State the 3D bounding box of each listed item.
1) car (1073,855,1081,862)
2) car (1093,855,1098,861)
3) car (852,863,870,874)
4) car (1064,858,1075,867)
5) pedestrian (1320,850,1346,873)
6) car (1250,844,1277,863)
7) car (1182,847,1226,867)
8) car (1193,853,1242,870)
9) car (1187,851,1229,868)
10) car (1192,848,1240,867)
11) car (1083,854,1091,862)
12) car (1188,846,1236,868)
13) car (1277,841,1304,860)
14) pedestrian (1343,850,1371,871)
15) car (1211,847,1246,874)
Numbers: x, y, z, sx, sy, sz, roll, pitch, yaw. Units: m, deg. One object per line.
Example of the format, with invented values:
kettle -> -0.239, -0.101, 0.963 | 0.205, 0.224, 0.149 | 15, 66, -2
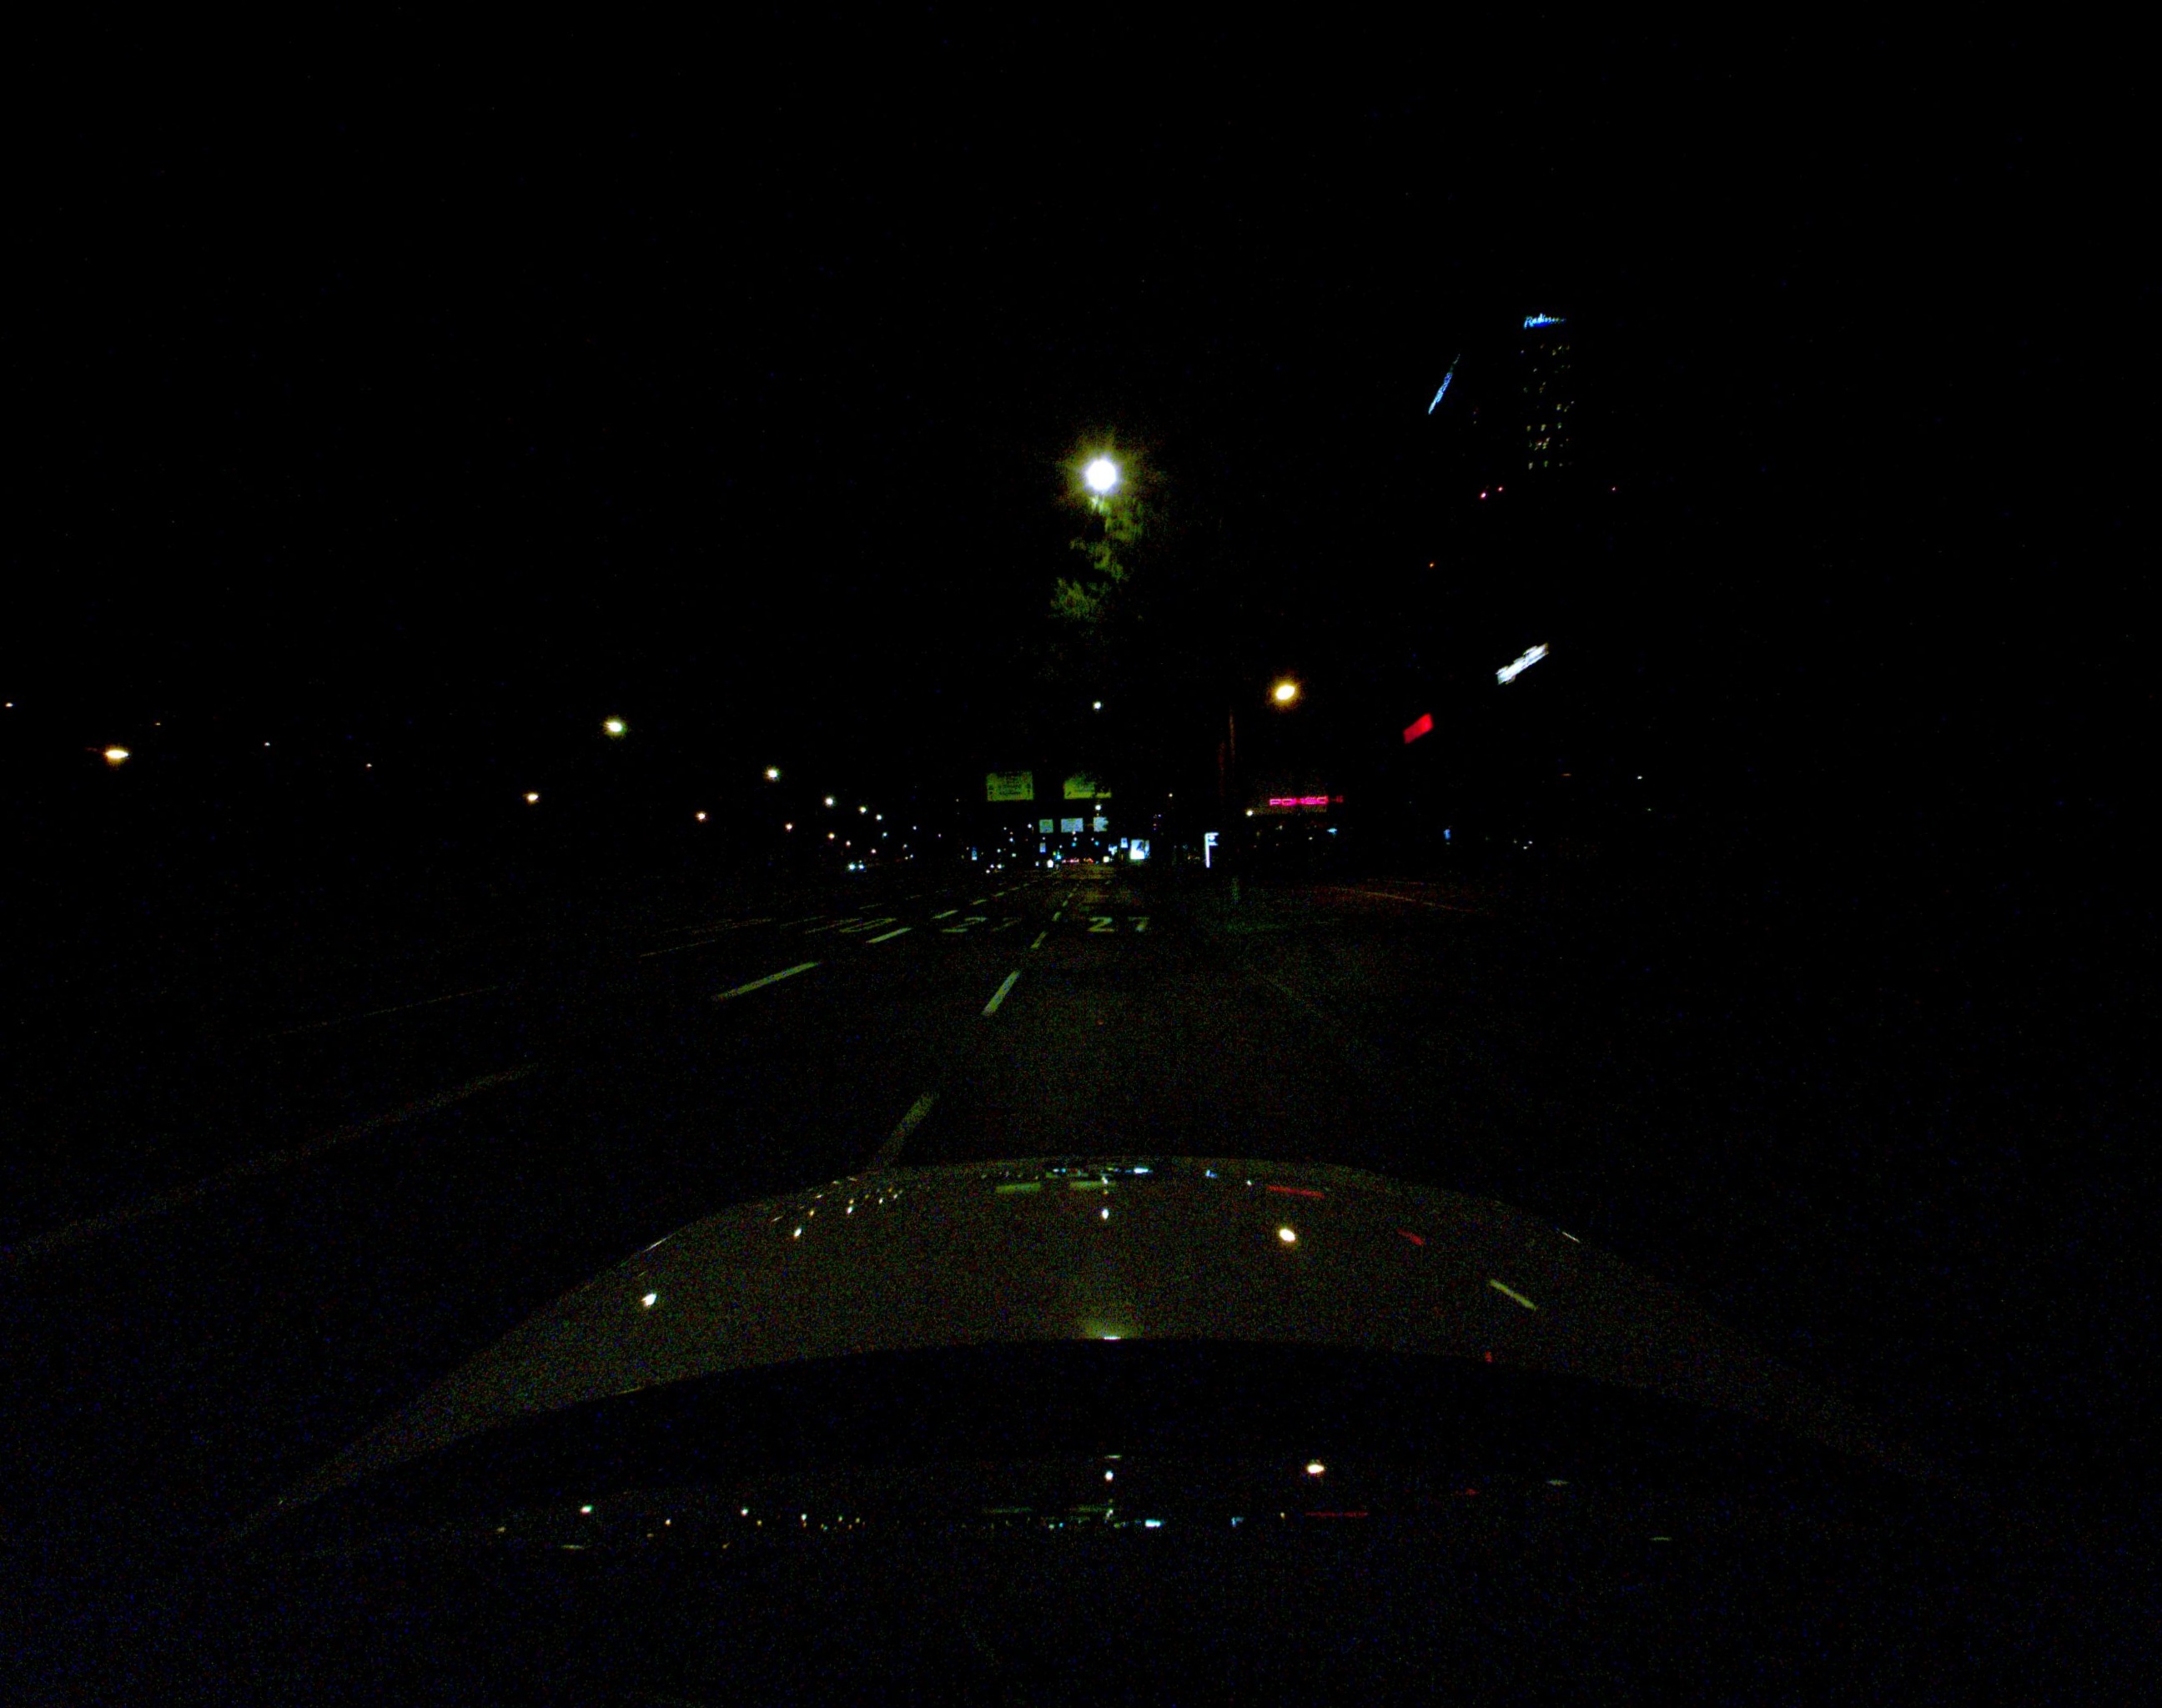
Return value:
car -> -1.171, 1.295, 225.754 | 1.986, 1.596, 4.001 | -2, -2, 1
car -> 4.566, 1.381, 256.846 | 1.831, 1.838, 4.000 | -1, -2, 1
car -> -32.684, 2.152, 121.019 | 1.619, 1.481, 3.681 | -1, -2, 2
car -> -2.260, 1.726, 162.738 | 1.959, 1.711, 4.003 | -1, -2, 4
pedestrian -> 12.116, 0.356, 39.187 | 0.902, 1.038, 0.776 | -4, -2, 45
car -> 15.217, -0.038, 68.053 | 1.882, 1.511, 3.644 | -1, -2, 8
car -> 11.956, 0.267, 79.318 | 3.977, 1.856, 1.820 | -1, -2, -3
car -> 11.607, 0.653, 69.285 | 3.814, 1.411, 1.709 | -1, -2, -2
car -> 11.650, 0.540, 74.648 | 3.502, 1.508, 1.734 | -1, -2, -3
car -> 11.076, 0.291, 66.923 | 3.615, 1.451, 1.706 | -1, -2, -3
car -> 1.521, 1.032, 209.849 | 1.986, 2.014, 4.000 | -1, -2, 1
car -> 11.617, 0.263, 72.307 | 3.977, 1.856, 1.820 | -1, -2, -3
car -> 17.850, -0.270, 69.593 | 1.882, 1.511, 3.644 | -1, -2, 8
pedestrian -> 13.255, 0.326, 39.165 | 0.999, 1.008, 0.768 | 0, -2, -14
car -> 11.147, 0.530, 61.376 | 1.977, 1.945, 4.019 | -1, -2, 19
